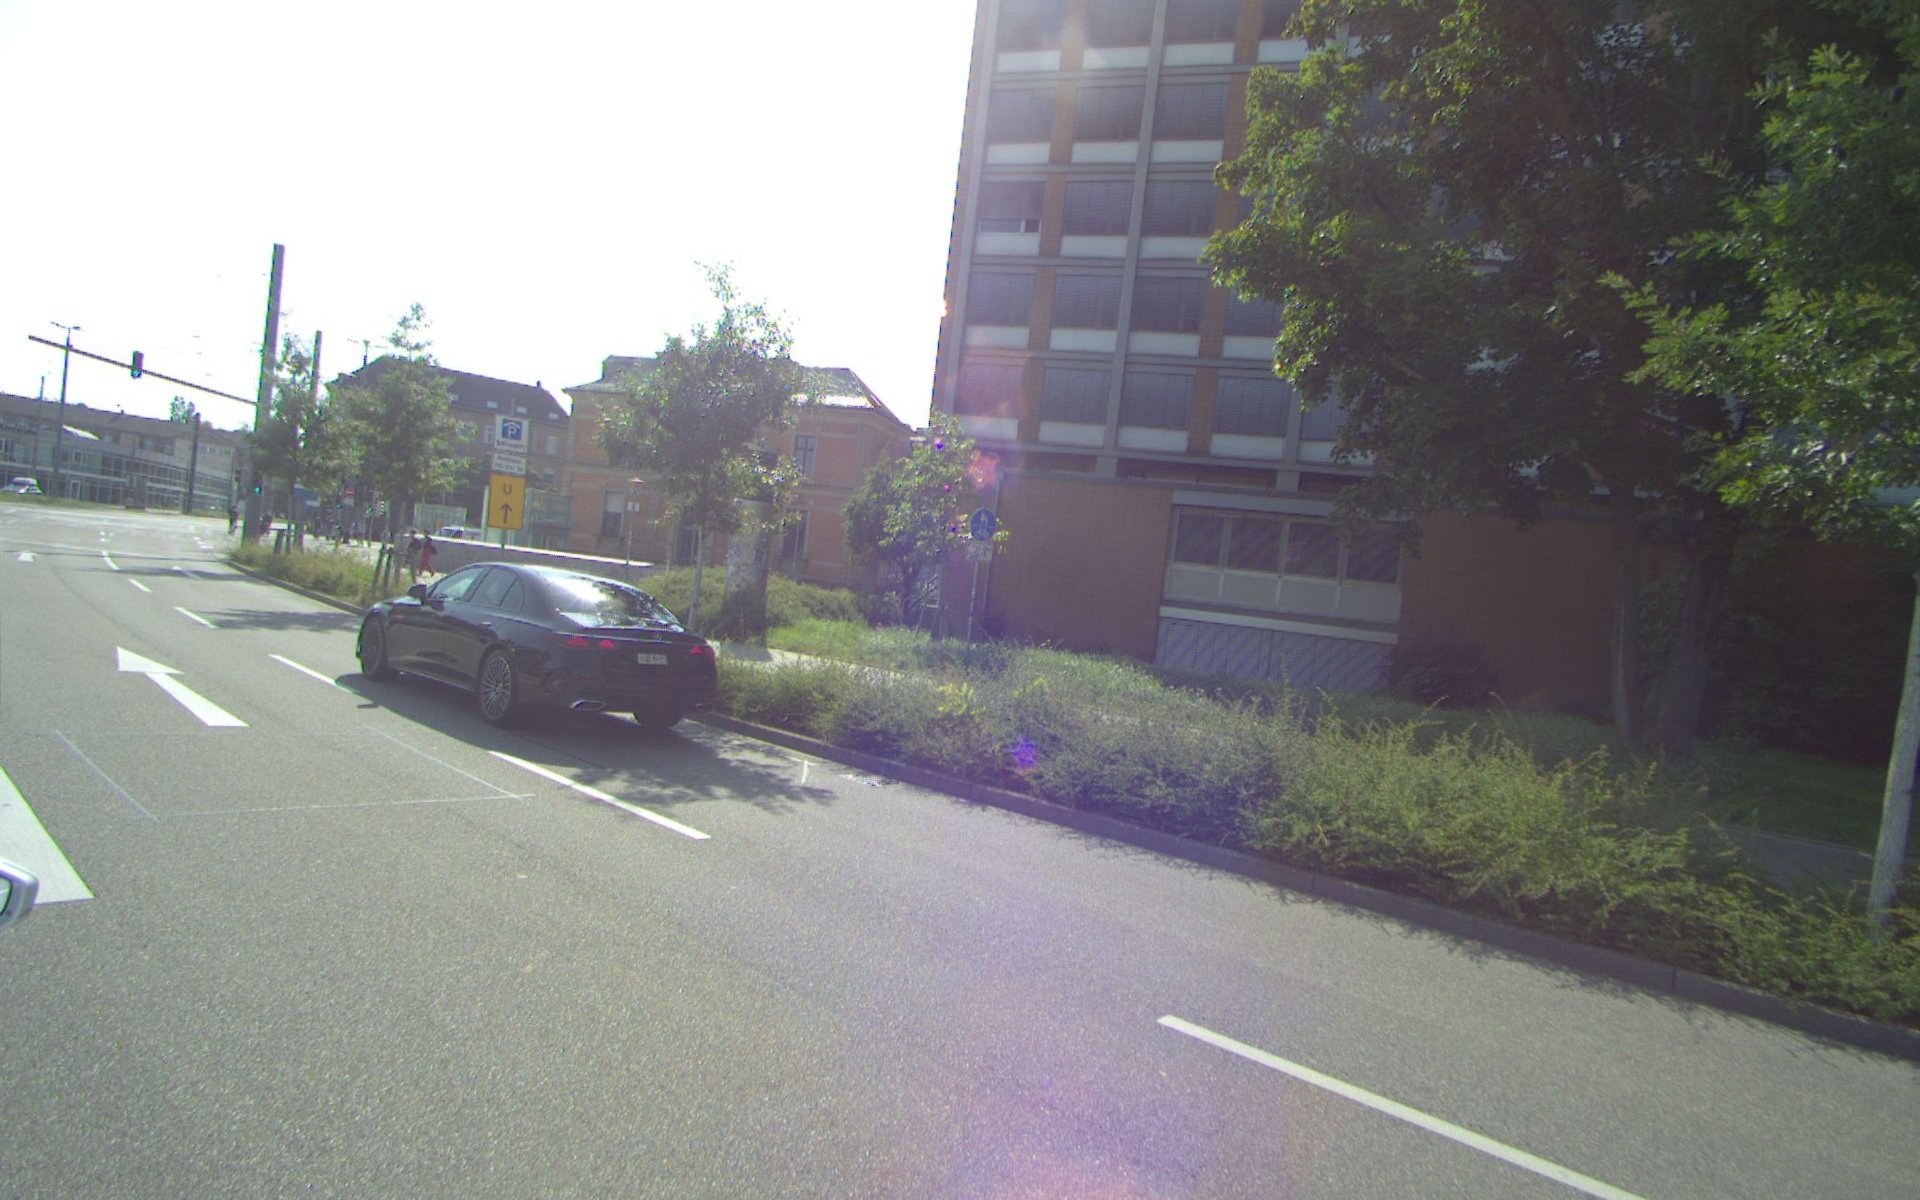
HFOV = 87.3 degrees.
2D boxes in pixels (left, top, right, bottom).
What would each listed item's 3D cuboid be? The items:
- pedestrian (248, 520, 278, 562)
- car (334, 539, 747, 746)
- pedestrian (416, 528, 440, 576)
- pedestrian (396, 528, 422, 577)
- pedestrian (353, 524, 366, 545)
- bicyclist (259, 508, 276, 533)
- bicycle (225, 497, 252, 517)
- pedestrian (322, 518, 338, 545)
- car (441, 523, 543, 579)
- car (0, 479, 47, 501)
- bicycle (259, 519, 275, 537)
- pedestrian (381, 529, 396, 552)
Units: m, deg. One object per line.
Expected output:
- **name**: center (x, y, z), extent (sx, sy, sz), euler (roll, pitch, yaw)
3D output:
- **pedestrian**: center (-24.806, -2.100, 35.818), extent (0.625, 1.379, 0.635), euler (8, 1, 40)
- **car**: center (-4.525, 0.341, 10.440), extent (4.803, 1.457, 1.819), euler (7, -1, 40)
- **pedestrian**: center (-19.066, -1.731, 36.062), extent (0.609, 1.649, 0.530), euler (6, 1, -26)
- **pedestrian**: center (-19.253, -1.660, 35.165), extent (0.609, 1.660, 0.530), euler (6, 1, -26)
- **pedestrian**: center (-42.671, -4.654, 71.456), extent (0.653, 1.378, 0.653), euler (7, 2, -29)
- **bicyclist**: center (-44.156, -5.067, 64.157), extent (0.708, 1.549, 0.799), euler (6, 1, -33)
- **bicycle**: center (-41.216, -5.305, 57.435), extent (2.121, 0.988, 0.770), euler (7, 0, 43)
- **pedestrian**: center (-46.138, -5.024, 73.678), extent (0.798, 1.913, 0.742), euler (6, 1, -33)
- **car**: center (-21.948, -2.247, 47.317), extent (1.722, 2.039, 3.997), euler (10, 2, 24)
- **car**: center (-84.184, -9.841, 89.581), extent (1.962, 1.460, 4.000), euler (7, 0, 4)
- **bicycle**: center (-44.211, -4.591, 64.169), extent (0.701, 1.074, 1.965), euler (6, 1, -33)
- **pedestrian**: center (-36.870, -3.838, 64.899), extent (0.653, 1.378, 0.653), euler (7, 2, -29)
